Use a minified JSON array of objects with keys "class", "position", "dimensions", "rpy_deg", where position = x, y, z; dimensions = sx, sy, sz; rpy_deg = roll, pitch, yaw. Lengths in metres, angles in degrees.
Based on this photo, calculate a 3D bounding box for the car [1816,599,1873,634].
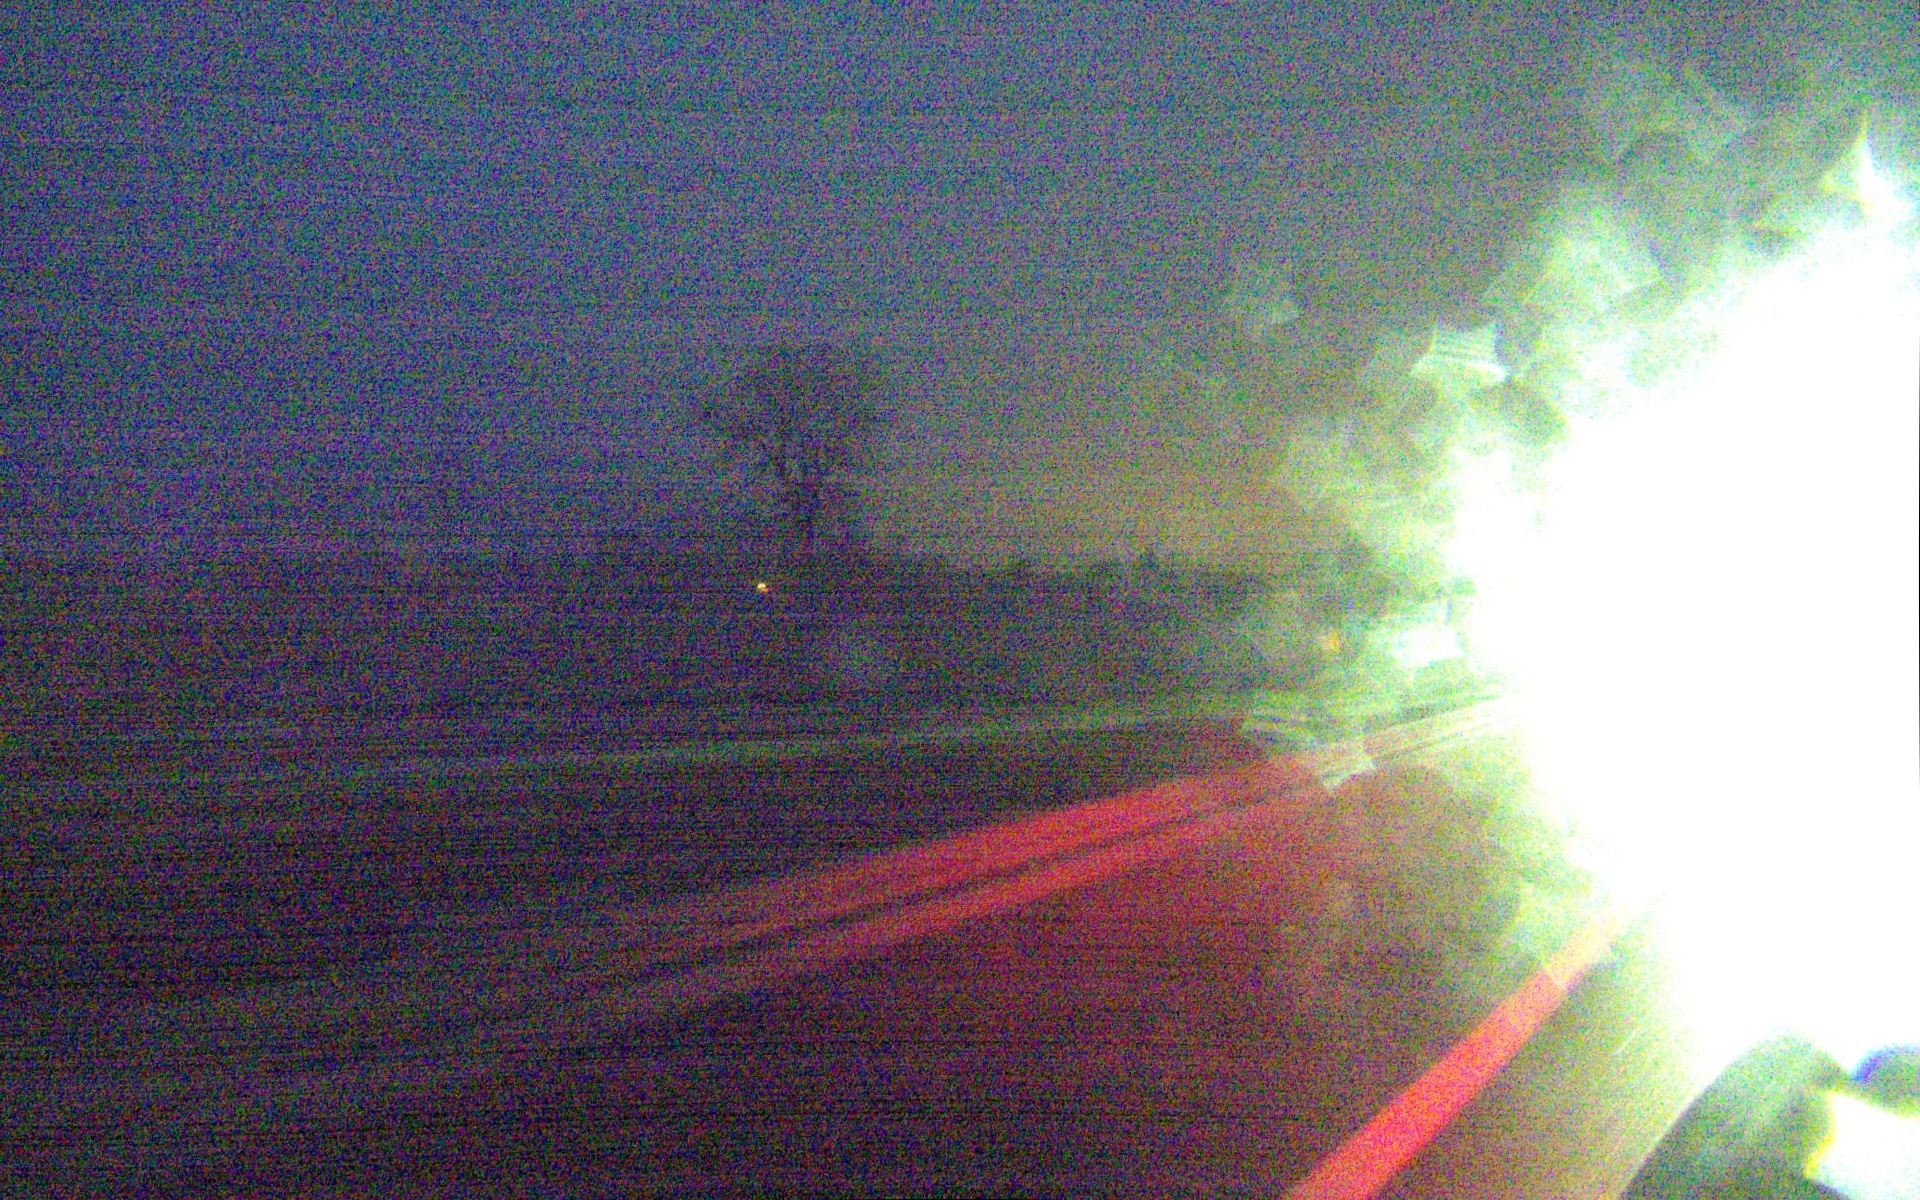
[{"class":"car","position":[46.483,0.839,53.271],"dimensions":[1.989,1.770,4.044],"rpy_deg":[0,-1,38]}]
